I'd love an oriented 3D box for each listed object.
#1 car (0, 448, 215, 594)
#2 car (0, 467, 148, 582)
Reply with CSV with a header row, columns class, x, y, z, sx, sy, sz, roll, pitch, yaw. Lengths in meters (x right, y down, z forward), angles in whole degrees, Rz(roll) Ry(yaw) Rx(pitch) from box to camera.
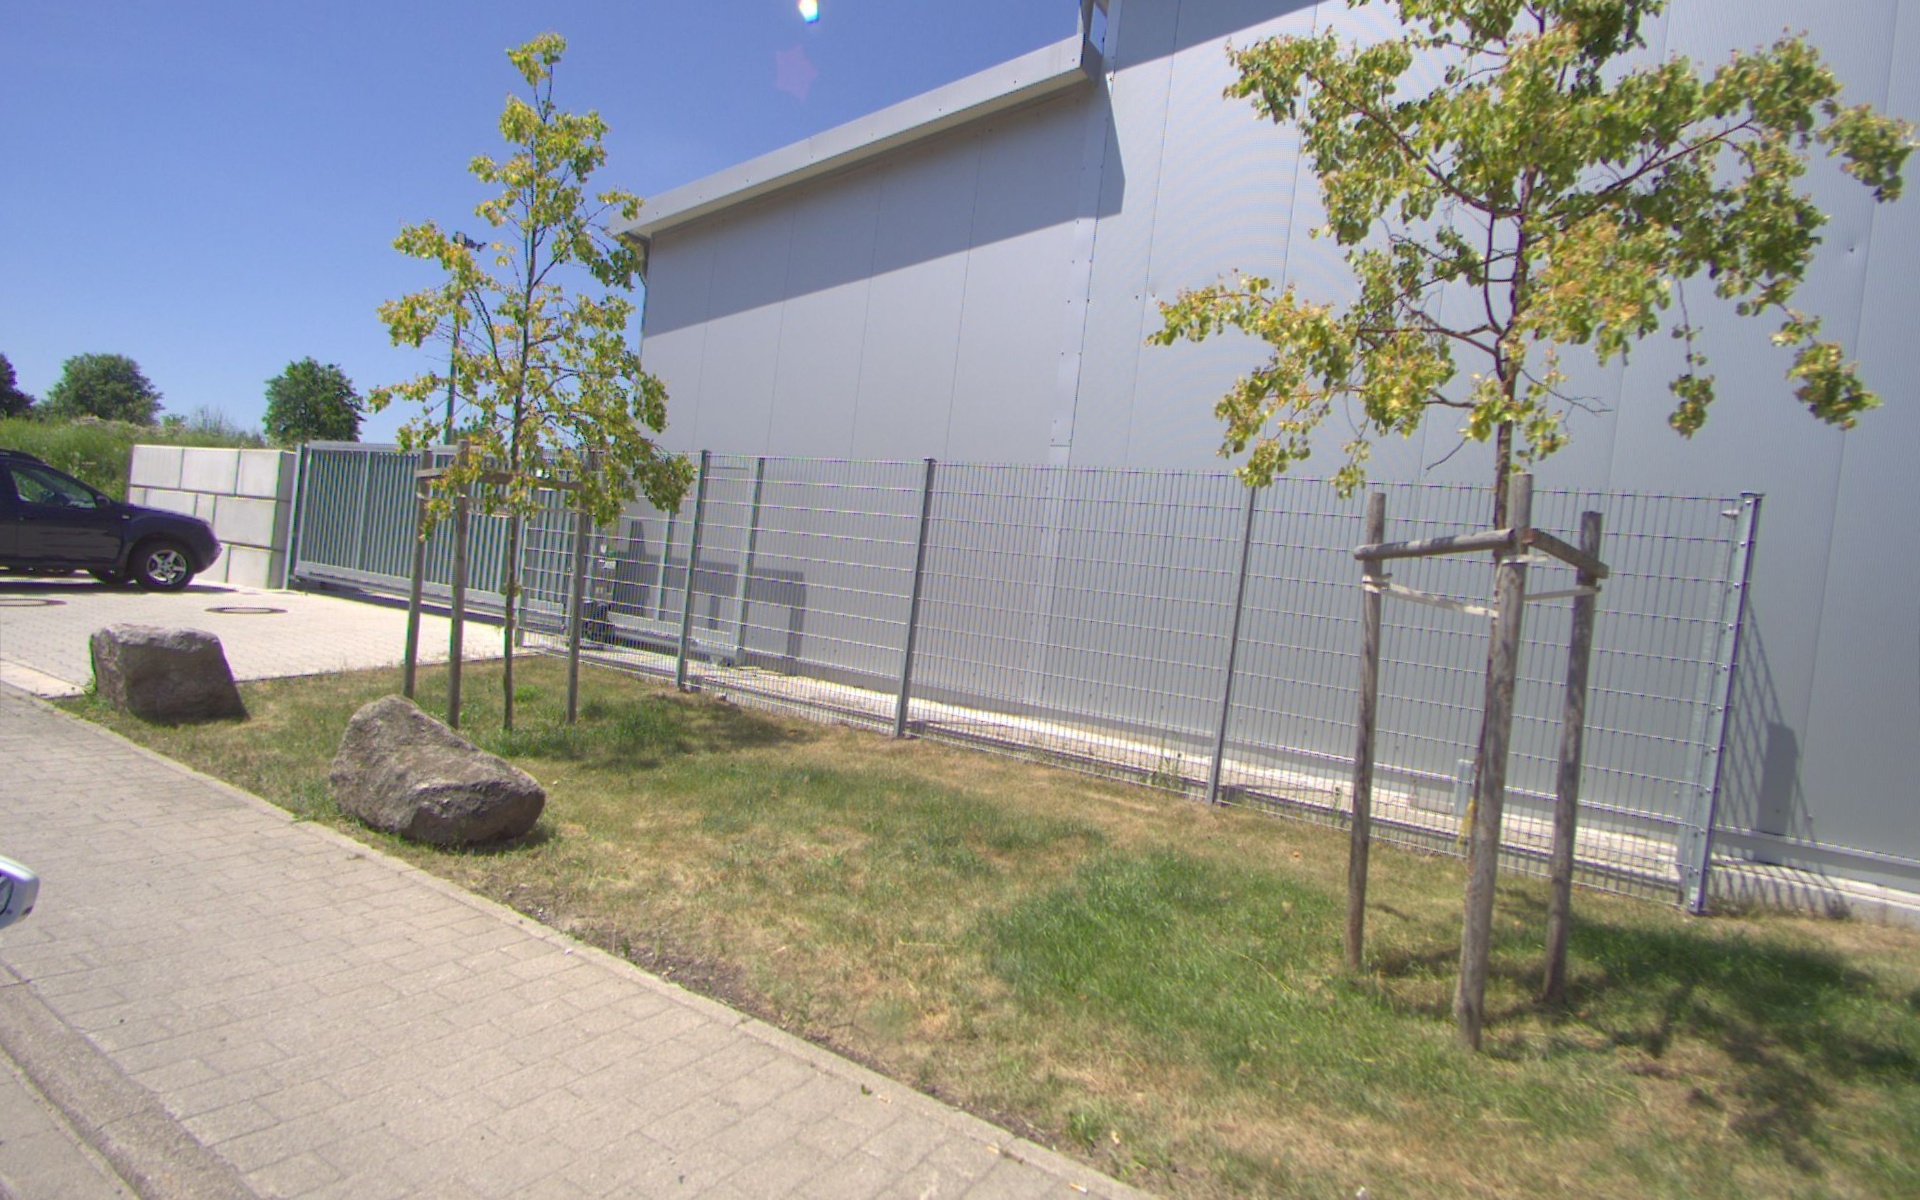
class,x,y,z,sx,sy,sz,roll,pitch,yaw
car,-11.735,-0.998,12.161,1.827,1.679,4.006,7,4,32
car,-13.896,-1.152,13.697,1.861,1.481,4.010,7,2,31
